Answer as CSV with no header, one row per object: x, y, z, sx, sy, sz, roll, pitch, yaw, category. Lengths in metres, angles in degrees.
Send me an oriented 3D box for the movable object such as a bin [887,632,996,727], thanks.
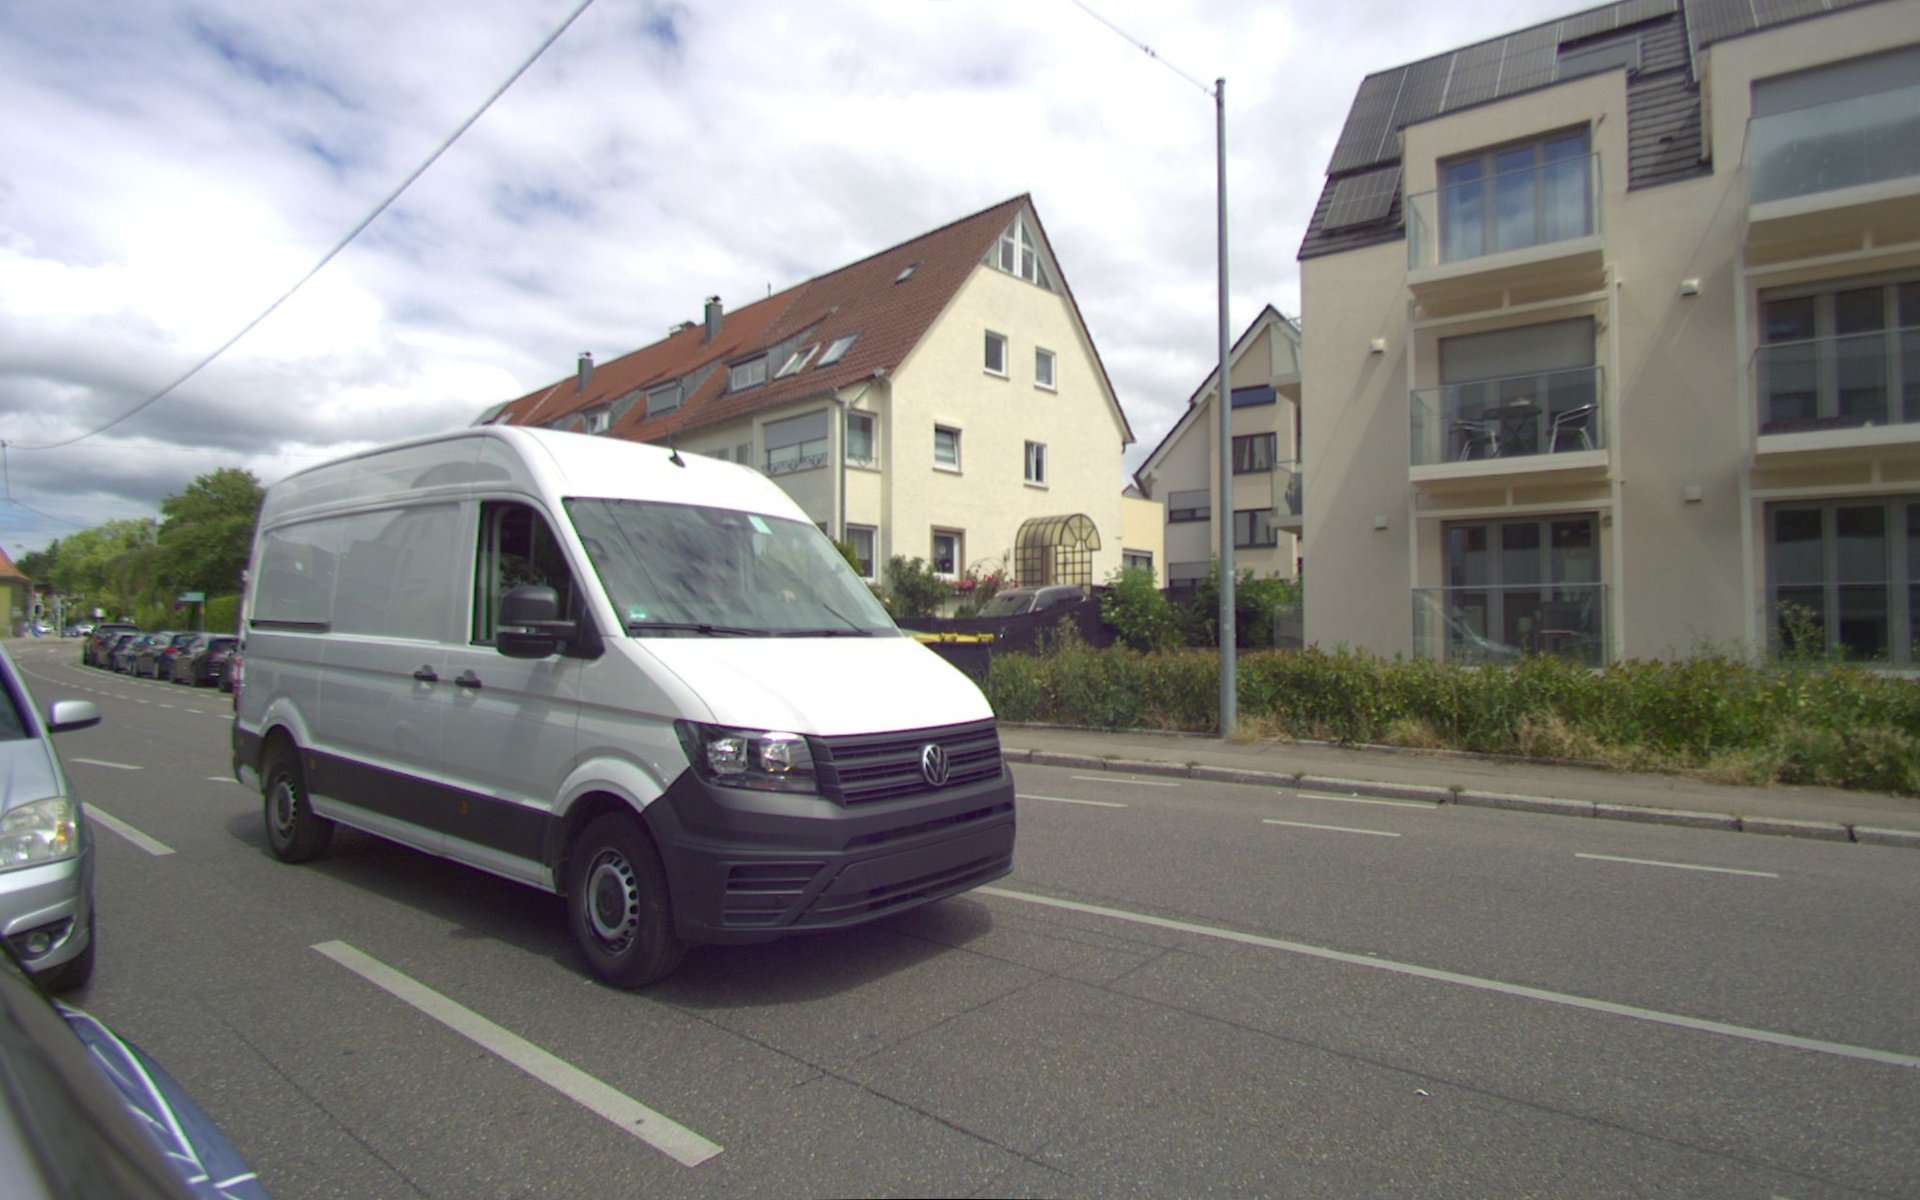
-0.273,1.133,14.887,1.214,1.323,1.053,-2,-3,43,movable object such as a bin

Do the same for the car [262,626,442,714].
-12.902,1.399,21.378,4.515,1.663,1.972,-1,-3,41,car

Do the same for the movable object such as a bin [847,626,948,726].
-0.980,1.162,15.976,1.213,1.493,1.054,-2,-3,39,movable object such as a bin

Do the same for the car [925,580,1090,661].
1.179,0.461,23.599,1.802,1.719,3.946,-2,-1,40,car

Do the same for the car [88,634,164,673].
-32.603,2.051,39.527,4.340,1.428,1.758,-2,-3,44,car

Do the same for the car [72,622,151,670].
-36.348,1.941,43.317,5.405,1.909,1.971,-2,-5,44,car

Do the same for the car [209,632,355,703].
-16.733,1.581,24.893,4.690,1.576,1.971,-2,-3,43,car

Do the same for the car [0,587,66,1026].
-5.397,0.777,4.633,4.332,1.552,1.684,-2,-1,45,car

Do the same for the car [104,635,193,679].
-28.782,1.981,35.847,4.439,1.428,1.759,-1,-3,42,car

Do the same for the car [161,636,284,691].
-20.865,1.730,28.556,4.690,1.419,1.971,-2,-3,43,car

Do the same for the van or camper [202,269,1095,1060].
-2.314,0.325,5.963,5.914,2.600,2.005,-3,-2,38,van or camper

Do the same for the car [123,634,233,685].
-24.893,1.832,32.173,4.561,1.503,1.760,-1,-3,39,car
